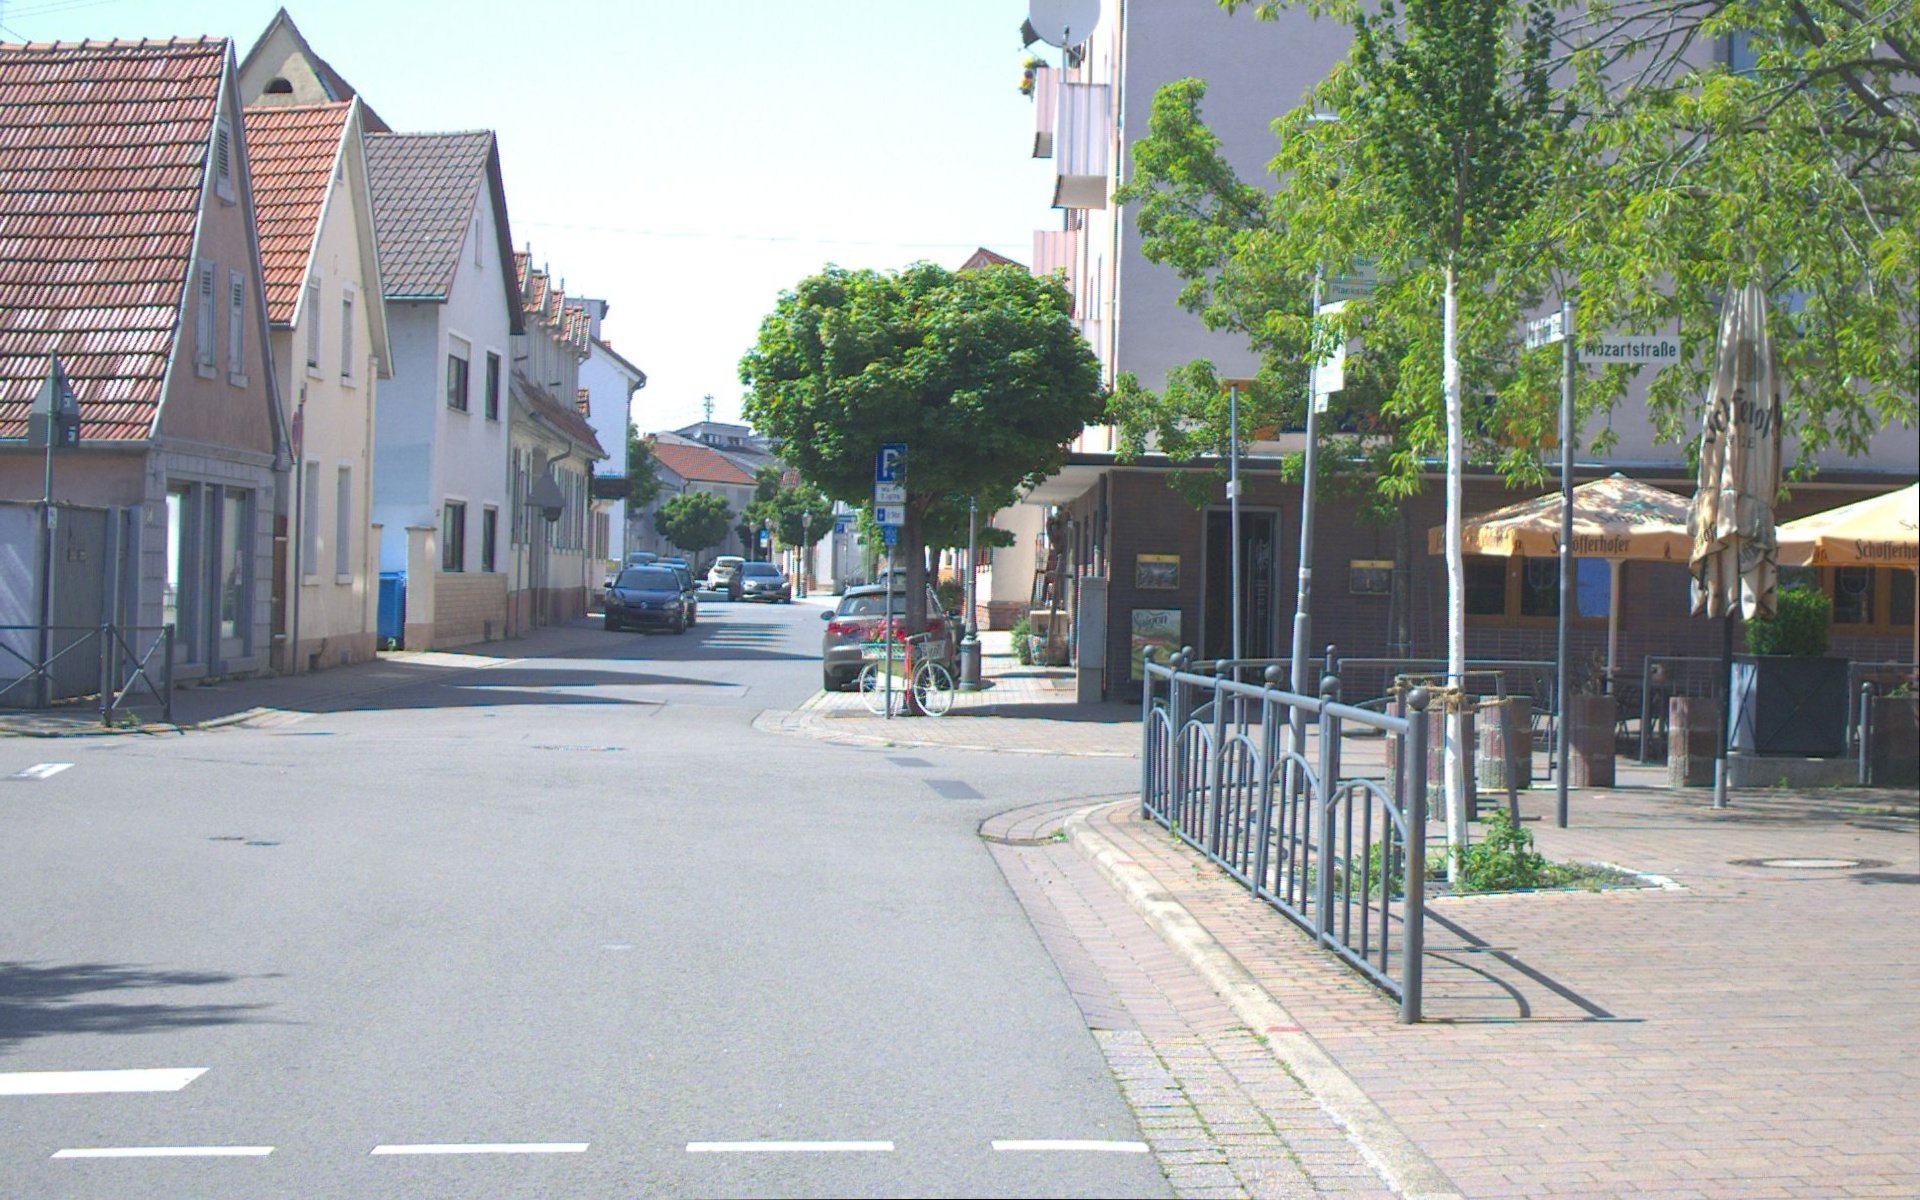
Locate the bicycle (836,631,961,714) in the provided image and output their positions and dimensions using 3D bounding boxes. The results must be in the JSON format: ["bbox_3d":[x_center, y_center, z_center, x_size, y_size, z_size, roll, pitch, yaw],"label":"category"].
[{"bbox_3d":[-0.693,0.804,38.583,1.412,0.894,0.464,0,1,36],"label":"bicycle"}]

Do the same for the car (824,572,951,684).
[{"bbox_3d":[-0.960,0.360,47.204,1.576,1.449,3.486,1,0,1],"label":"car"}]

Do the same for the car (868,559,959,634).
[{"bbox_3d":[-1.086,-0.113,81.071,2.043,1.683,4.842,1,1,-1],"label":"car"}]

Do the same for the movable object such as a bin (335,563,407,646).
[{"bbox_3d":[-9.730,0.069,56.783,1.102,1.361,0.390,1,0,3],"label":"movable object such as a bin"}]

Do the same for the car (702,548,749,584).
[{"bbox_3d":[-10.748,-1.558,157.467,2.027,1.592,4.510,1,1,-5],"label":"car"}]

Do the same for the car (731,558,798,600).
[{"bbox_3d":[-7.208,-0.771,126.266,1.908,1.476,4.845,1,0,-10],"label":"car"}]

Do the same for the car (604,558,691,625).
[{"bbox_3d":[-7.084,-0.208,78.203,1.663,1.471,4.135,1,1,-1],"label":"car"}]

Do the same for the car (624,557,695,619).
[{"bbox_3d":[-7.390,-0.310,84.757,1.663,1.471,3.451,1,1,-4],"label":"car"}]
